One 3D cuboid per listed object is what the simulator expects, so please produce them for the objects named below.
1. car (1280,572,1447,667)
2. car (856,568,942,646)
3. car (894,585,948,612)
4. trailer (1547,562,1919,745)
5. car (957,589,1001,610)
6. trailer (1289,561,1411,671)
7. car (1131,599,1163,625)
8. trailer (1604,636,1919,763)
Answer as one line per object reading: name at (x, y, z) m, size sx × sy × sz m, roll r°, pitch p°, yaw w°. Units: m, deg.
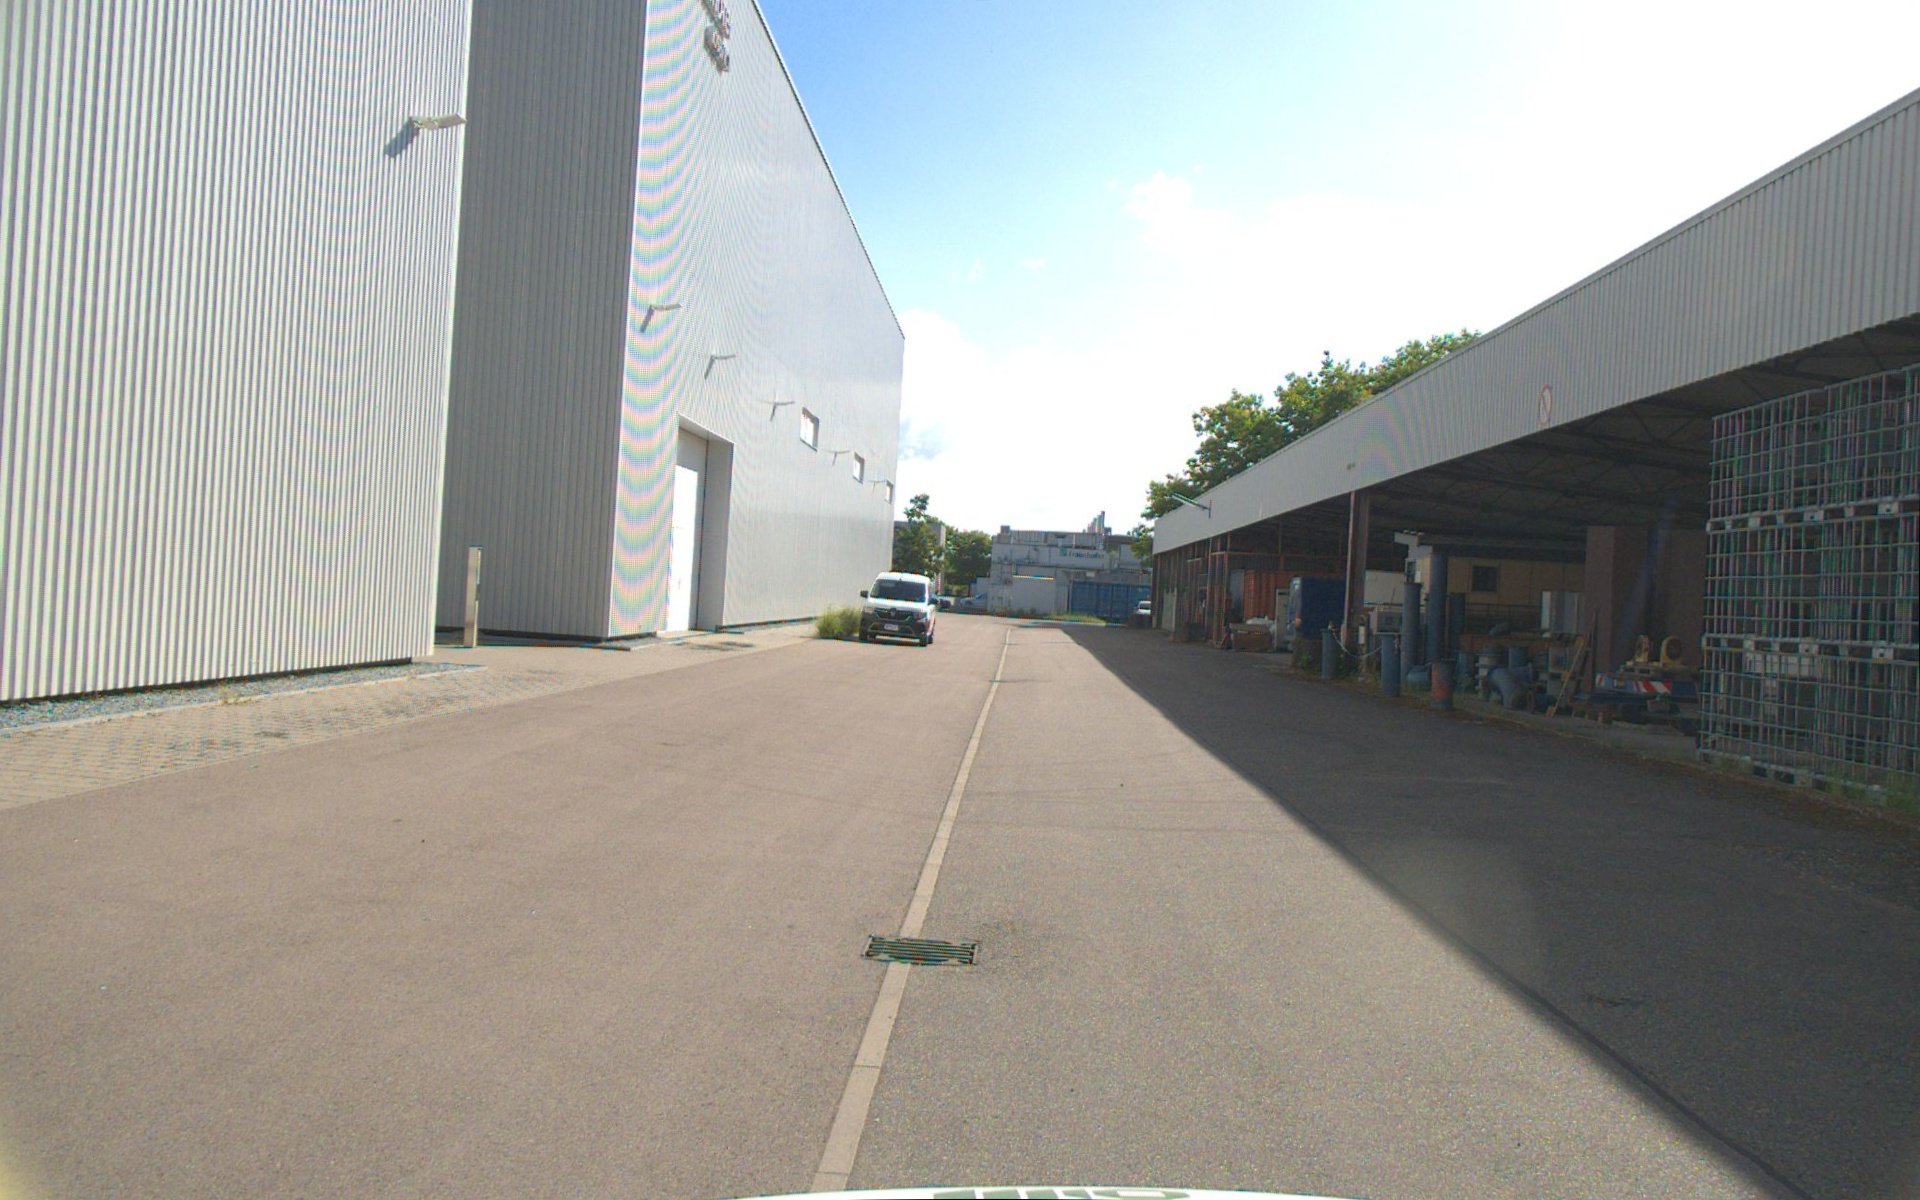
car at (11.790, 0.589, 48.583) m, size 4.341 × 2.349 × 1.916 m, roll 5°, pitch -2°, yaw 3°
car at (-1.561, 0.153, 43.697) m, size 1.781 × 1.818 × 4.407 m, roll 5°, pitch 1°, yaw 2°
car at (-2.940, -0.122, 126.030) m, size 3.906 × 1.625 × 1.741 m, roll 5°, pitch -2°, yaw 1°
trailer at (10.873, 0.695, 21.546) m, size 5.646 × 2.067 × 2.078 m, roll 3°, pitch 0°, yaw 3°
car at (1.767, -0.049, 153.778) m, size 3.906 × 1.625 × 1.848 m, roll 5°, pitch -2°, yaw 1°
trailer at (9.365, 0.381, 39.870) m, size 2.471 × 2.440 × 1.727 m, roll 3°, pitch -1°, yaw 3°
car at (12.759, 0.808, 113.078) m, size 1.921 × 1.591 × 4.061 m, roll 5°, pitch 1°, yaw 4°
trailer at (10.442, 1.142, 18.348) m, size 5.728 × 1.153 × 2.141 m, roll 3°, pitch 0°, yaw 0°
